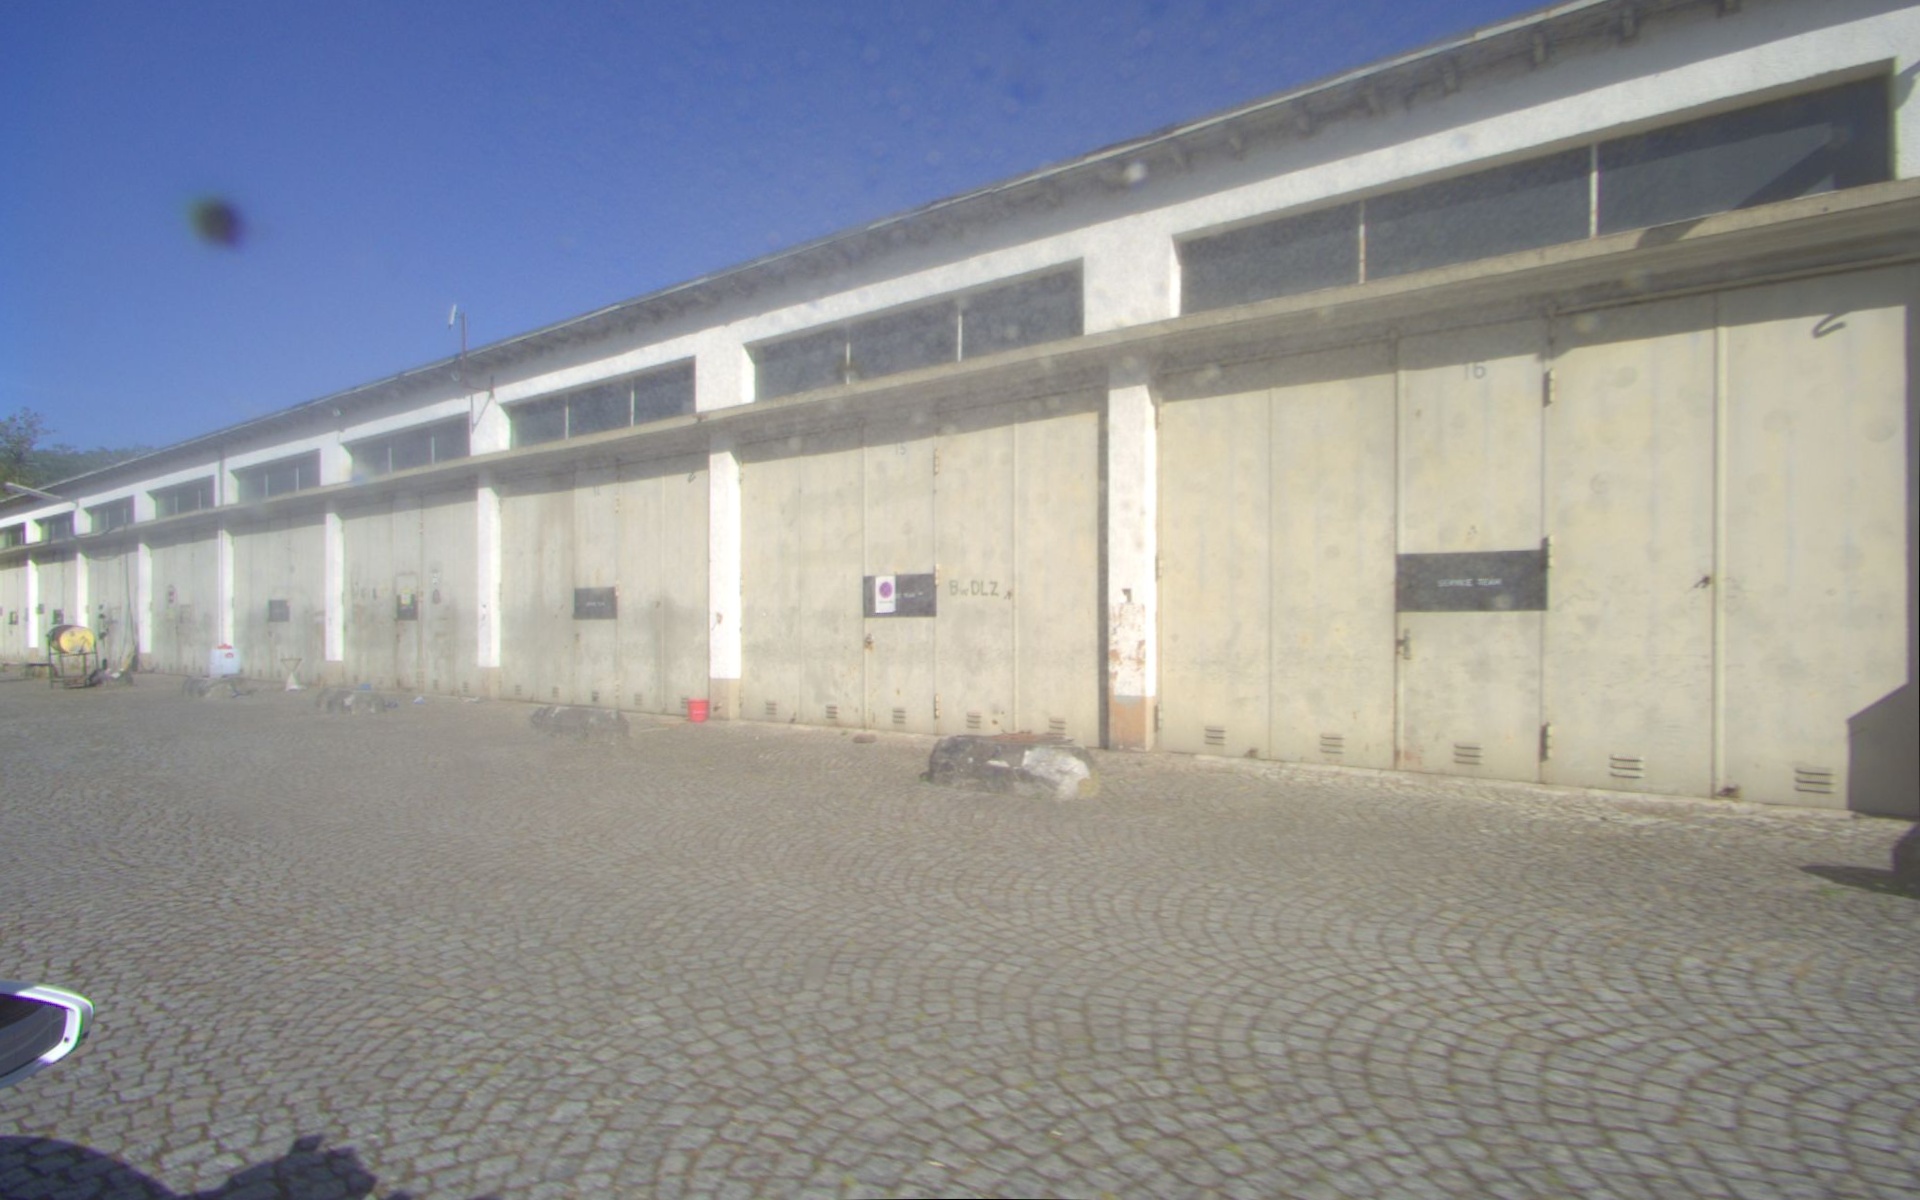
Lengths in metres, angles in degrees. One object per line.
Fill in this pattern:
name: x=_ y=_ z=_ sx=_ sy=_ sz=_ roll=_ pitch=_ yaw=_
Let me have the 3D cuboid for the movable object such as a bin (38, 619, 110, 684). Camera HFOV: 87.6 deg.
movable object such as a bin: x=-19.083 y=1.090 z=21.566 sx=1.262 sy=1.349 sz=0.822 roll=0 pitch=0 yaw=31
